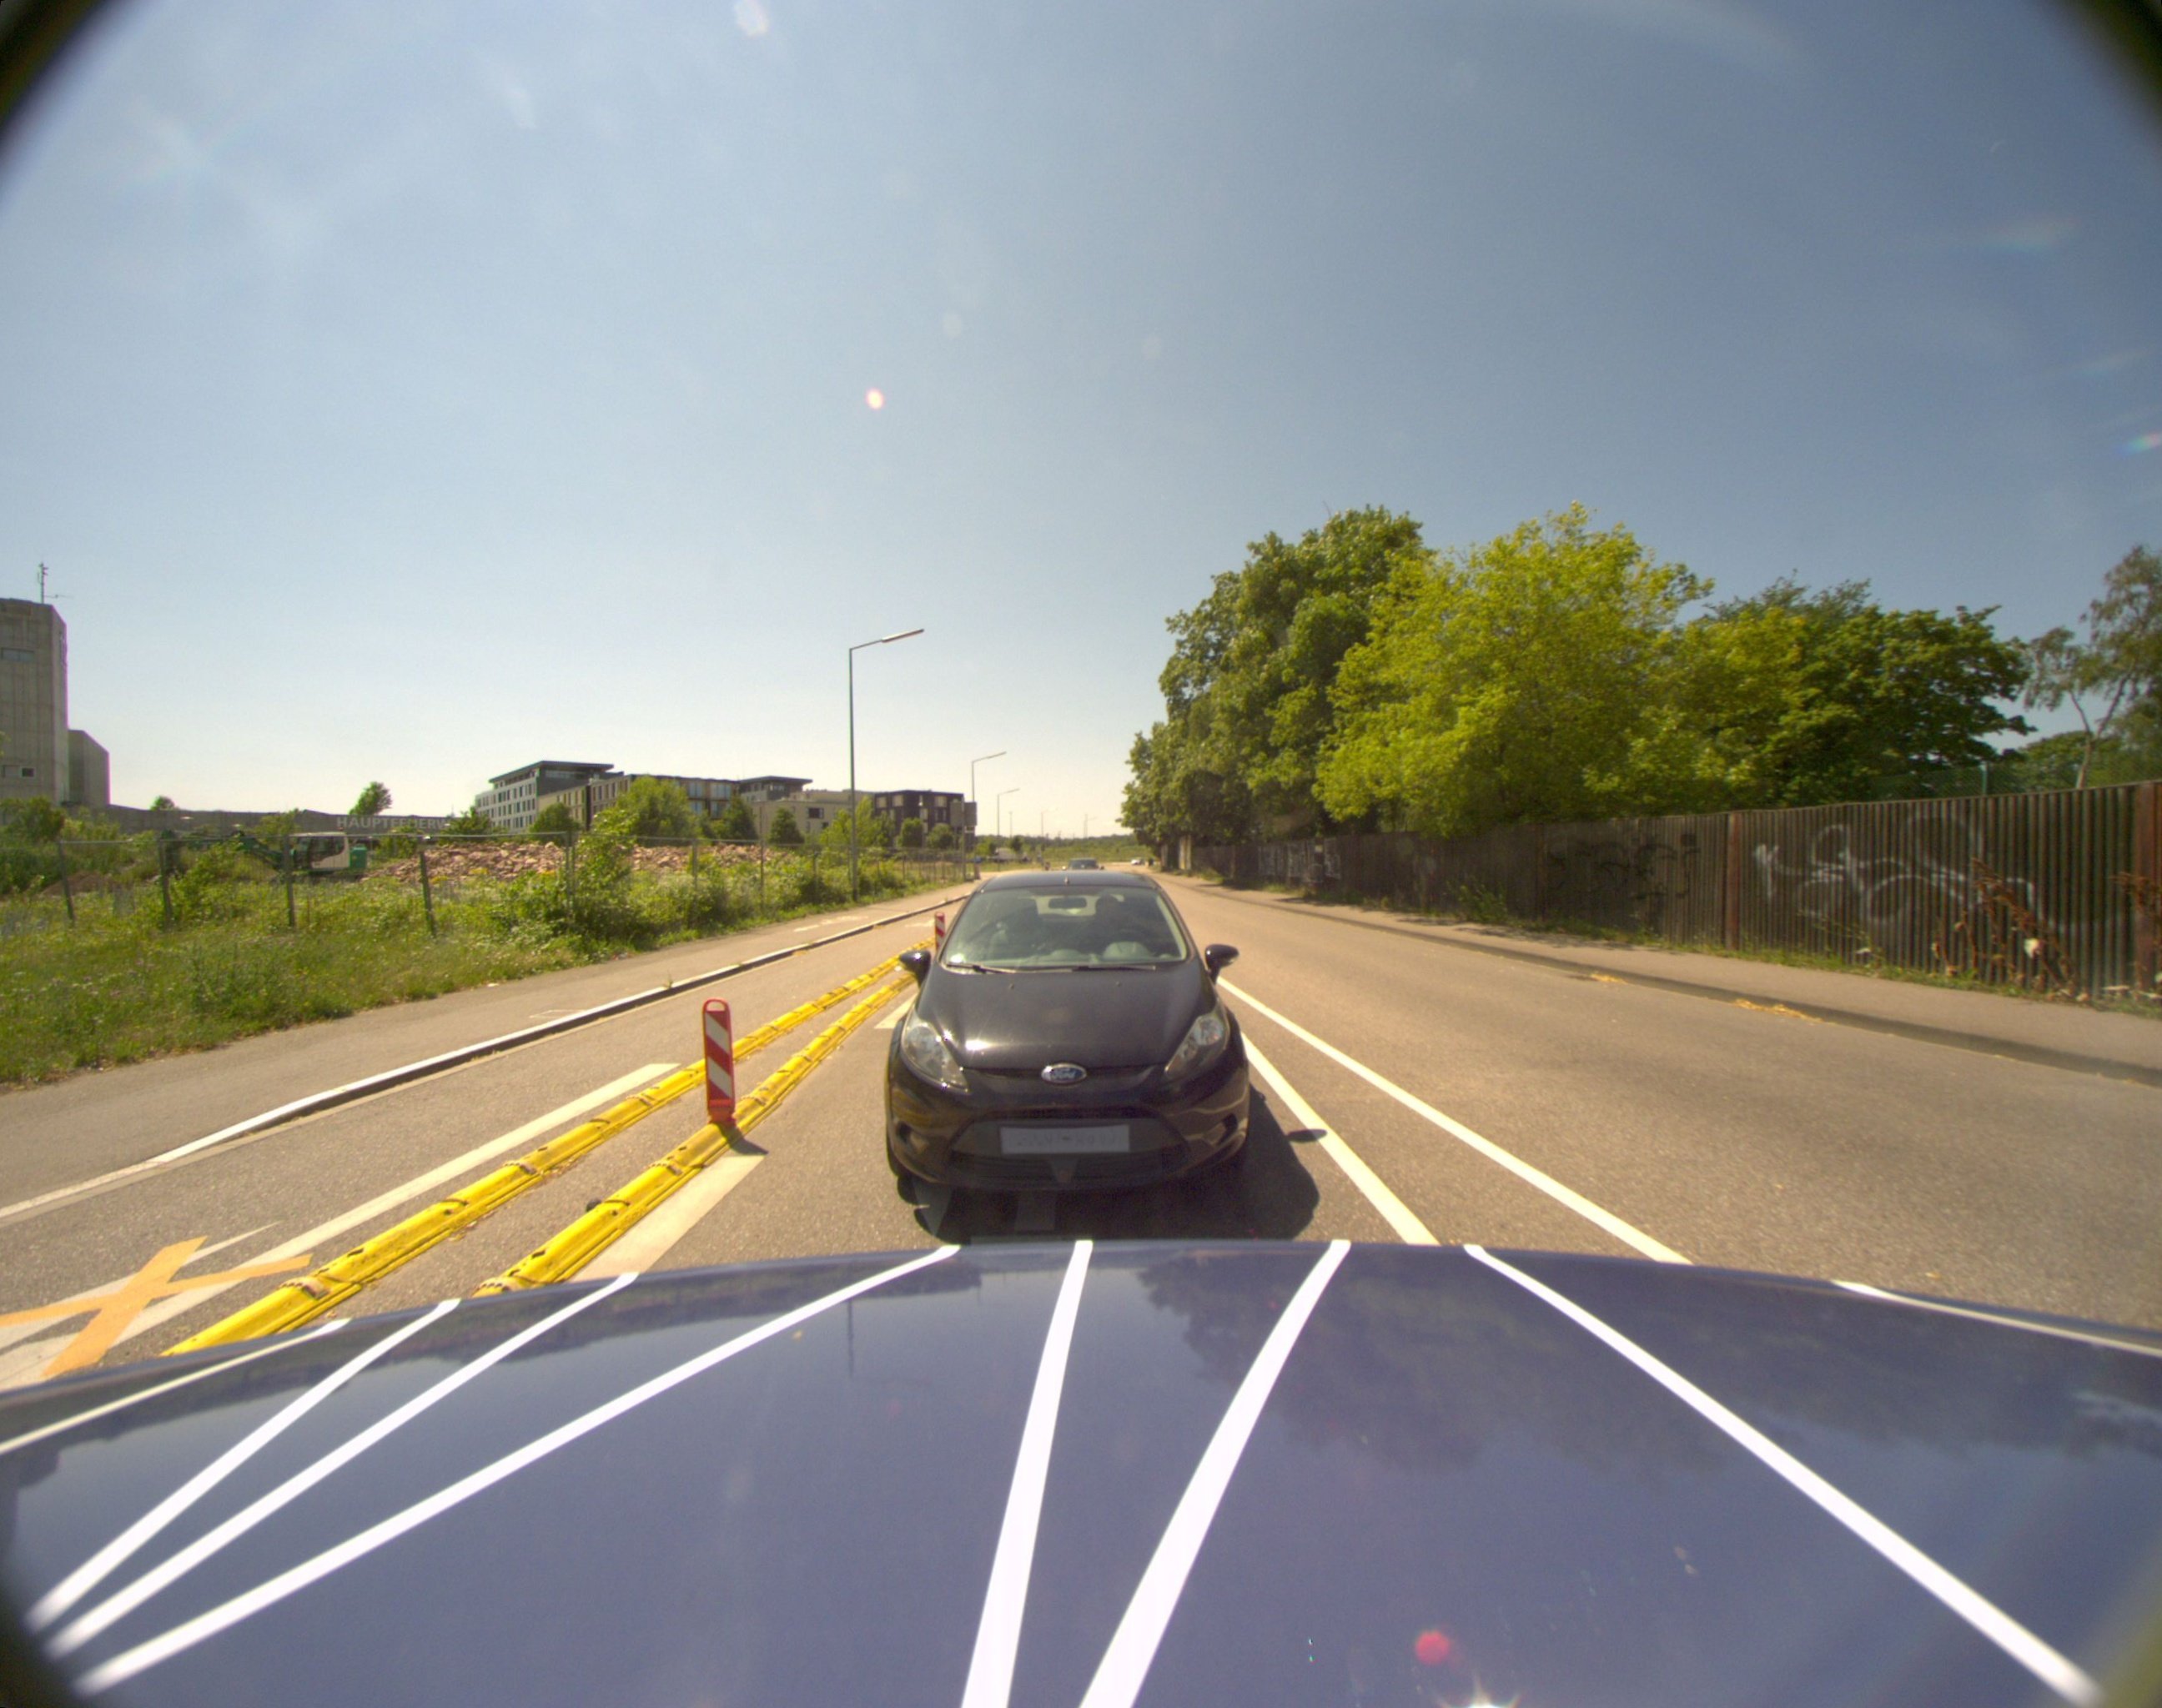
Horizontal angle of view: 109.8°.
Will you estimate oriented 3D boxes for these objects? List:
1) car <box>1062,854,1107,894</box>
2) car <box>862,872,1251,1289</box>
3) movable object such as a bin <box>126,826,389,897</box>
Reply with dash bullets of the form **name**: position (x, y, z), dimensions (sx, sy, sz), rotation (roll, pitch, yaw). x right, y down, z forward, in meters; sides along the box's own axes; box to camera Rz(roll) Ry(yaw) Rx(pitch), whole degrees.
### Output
- **car**: position (0.190, 0.871, 35.949), dimensions (1.924, 1.643, 4.668), rotation (-2, 1, 1)
- **car**: position (-0.071, 0.978, 5.092), dimensions (1.528, 1.510, 3.999), rotation (-2, 1, 1)
- **movable object such as a bin**: position (-38.358, 0.272, 35.922), dimensions (3.231, 2.899, 7.702), rotation (-2, 1, 15)
